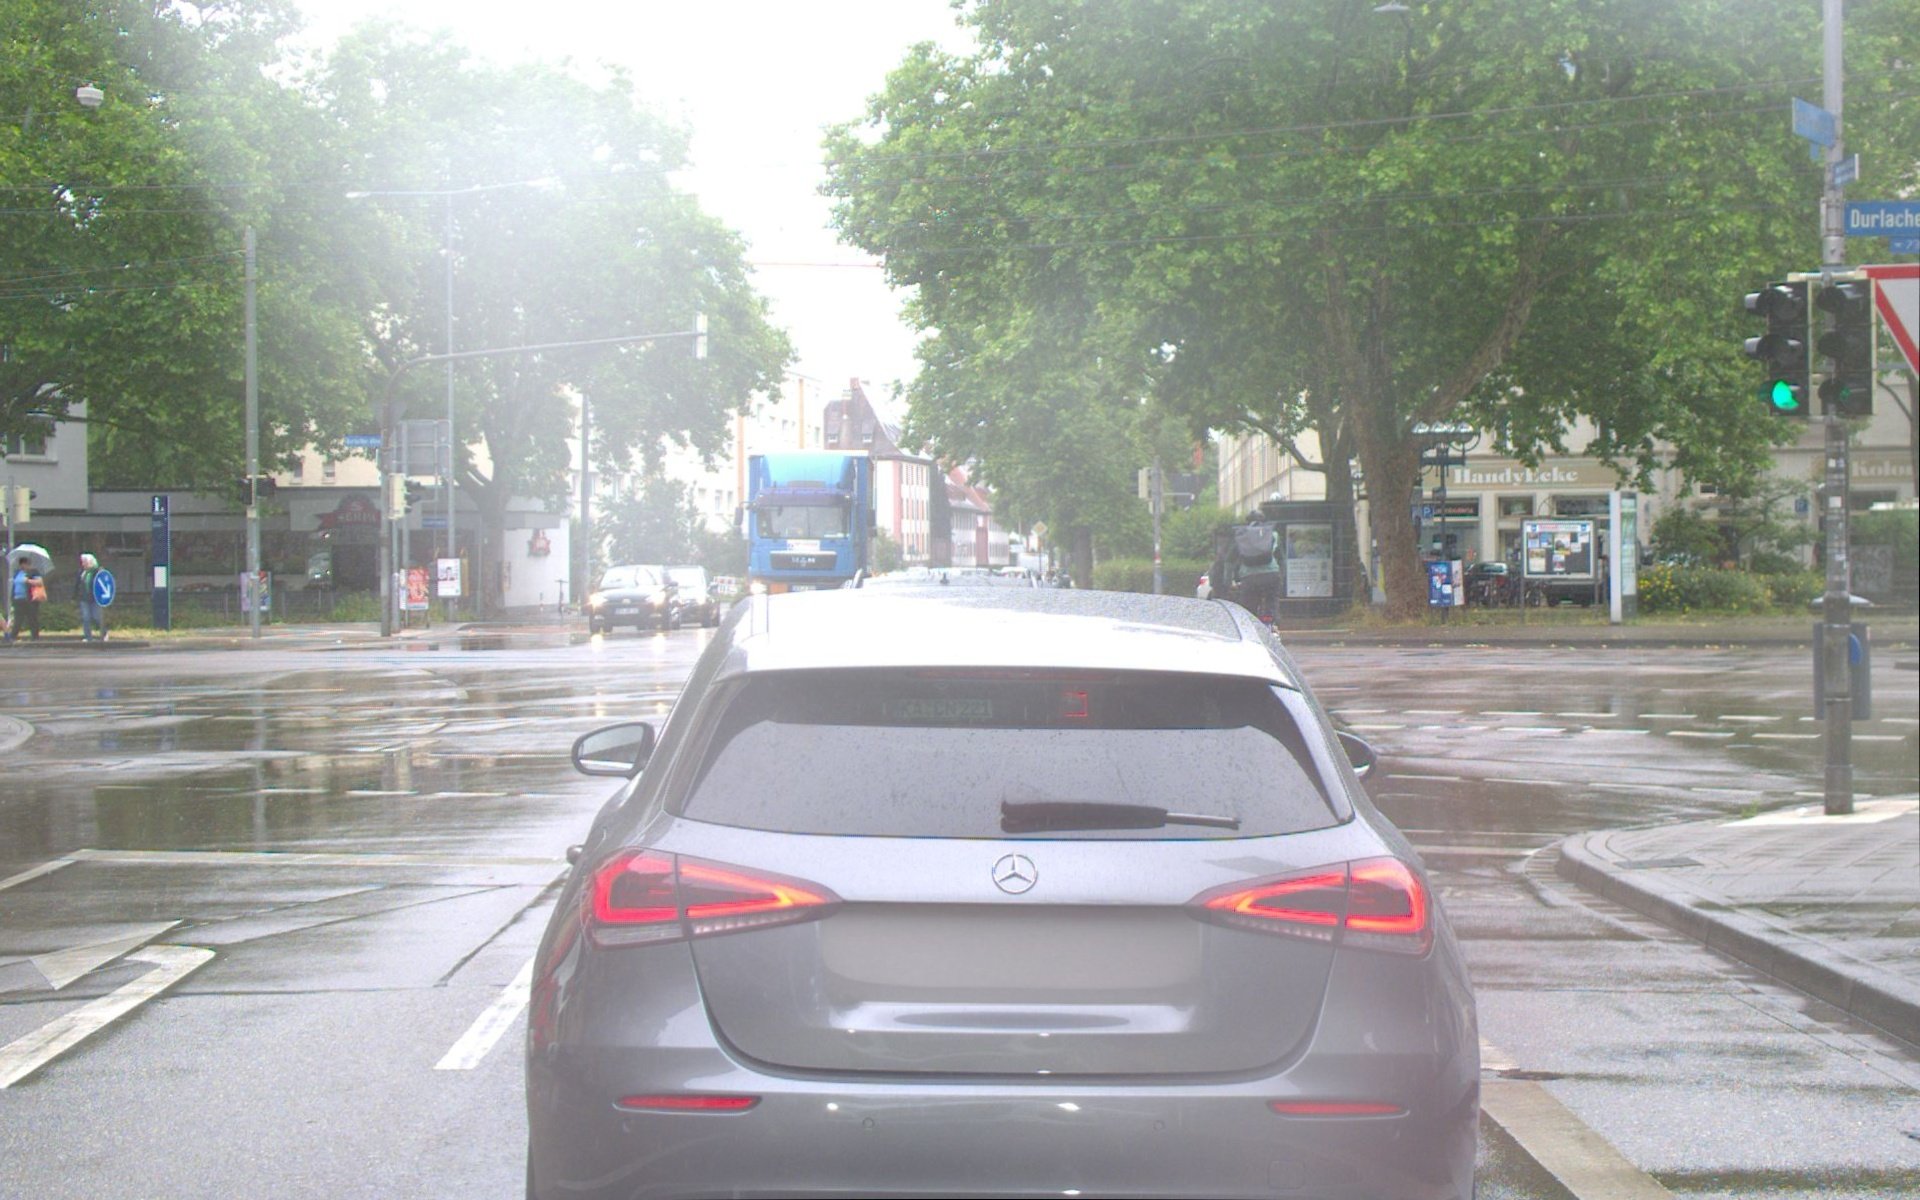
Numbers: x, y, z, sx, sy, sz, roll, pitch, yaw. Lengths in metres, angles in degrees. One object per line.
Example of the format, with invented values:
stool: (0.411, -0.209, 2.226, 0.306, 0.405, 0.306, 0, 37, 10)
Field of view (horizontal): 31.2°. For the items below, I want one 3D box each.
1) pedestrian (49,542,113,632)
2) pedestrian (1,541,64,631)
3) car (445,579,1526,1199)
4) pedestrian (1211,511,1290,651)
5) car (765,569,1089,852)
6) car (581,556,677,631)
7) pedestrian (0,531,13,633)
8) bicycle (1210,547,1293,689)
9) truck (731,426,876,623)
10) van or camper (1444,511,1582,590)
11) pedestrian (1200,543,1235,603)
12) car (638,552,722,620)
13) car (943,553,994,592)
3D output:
pedestrian: (-16.315, -0.244, 63.827, 0.835, 1.643, 0.755, -1, 1, 15)
pedestrian: (-17.308, -0.267, 64.156, 0.792, 1.643, 0.816, -1, 1, 15)
car: (0.021, 0.665, 7.490, 1.791, 1.368, 3.507, 1, 1, -1)
pedestrian: (2.971, -0.200, 35.116, 0.744, 1.393, 1.047, -1, 1, 7)
car: (-0.189, 0.540, 19.351, 1.607, 1.368, 4.000, -1, 1, -1)
car: (-7.117, -0.169, 74.238, 1.743, 1.541, 3.779, -1, 1, -1)
pedestrian: (-17.475, -0.314, 61.695, 0.677, 1.832, 0.640, -2, 1, -42)
bicycle: (3.002, 0.157, 35.236, 0.749, 1.372, 2.706, -1, 1, 6)
truck: (-3.351, -1.620, 76.043, 2.845, 4.011, 10.317, -1, 1, -1)
van or camper: (16.270, -1.435, 100.888, 2.400, 2.224, 5.422, 0, 0, 27)
pedestrian: (7.129, -0.747, 95.134, 0.663, 1.663, 0.718, -1, 0, -36)
car: (-6.711, -0.355, 82.695, 1.726, 1.541, 4.340, -1, 1, -1)
car: (0.352, -1.128, 142.749, 1.993, 1.568, 4.000, -1, 0, -2)
